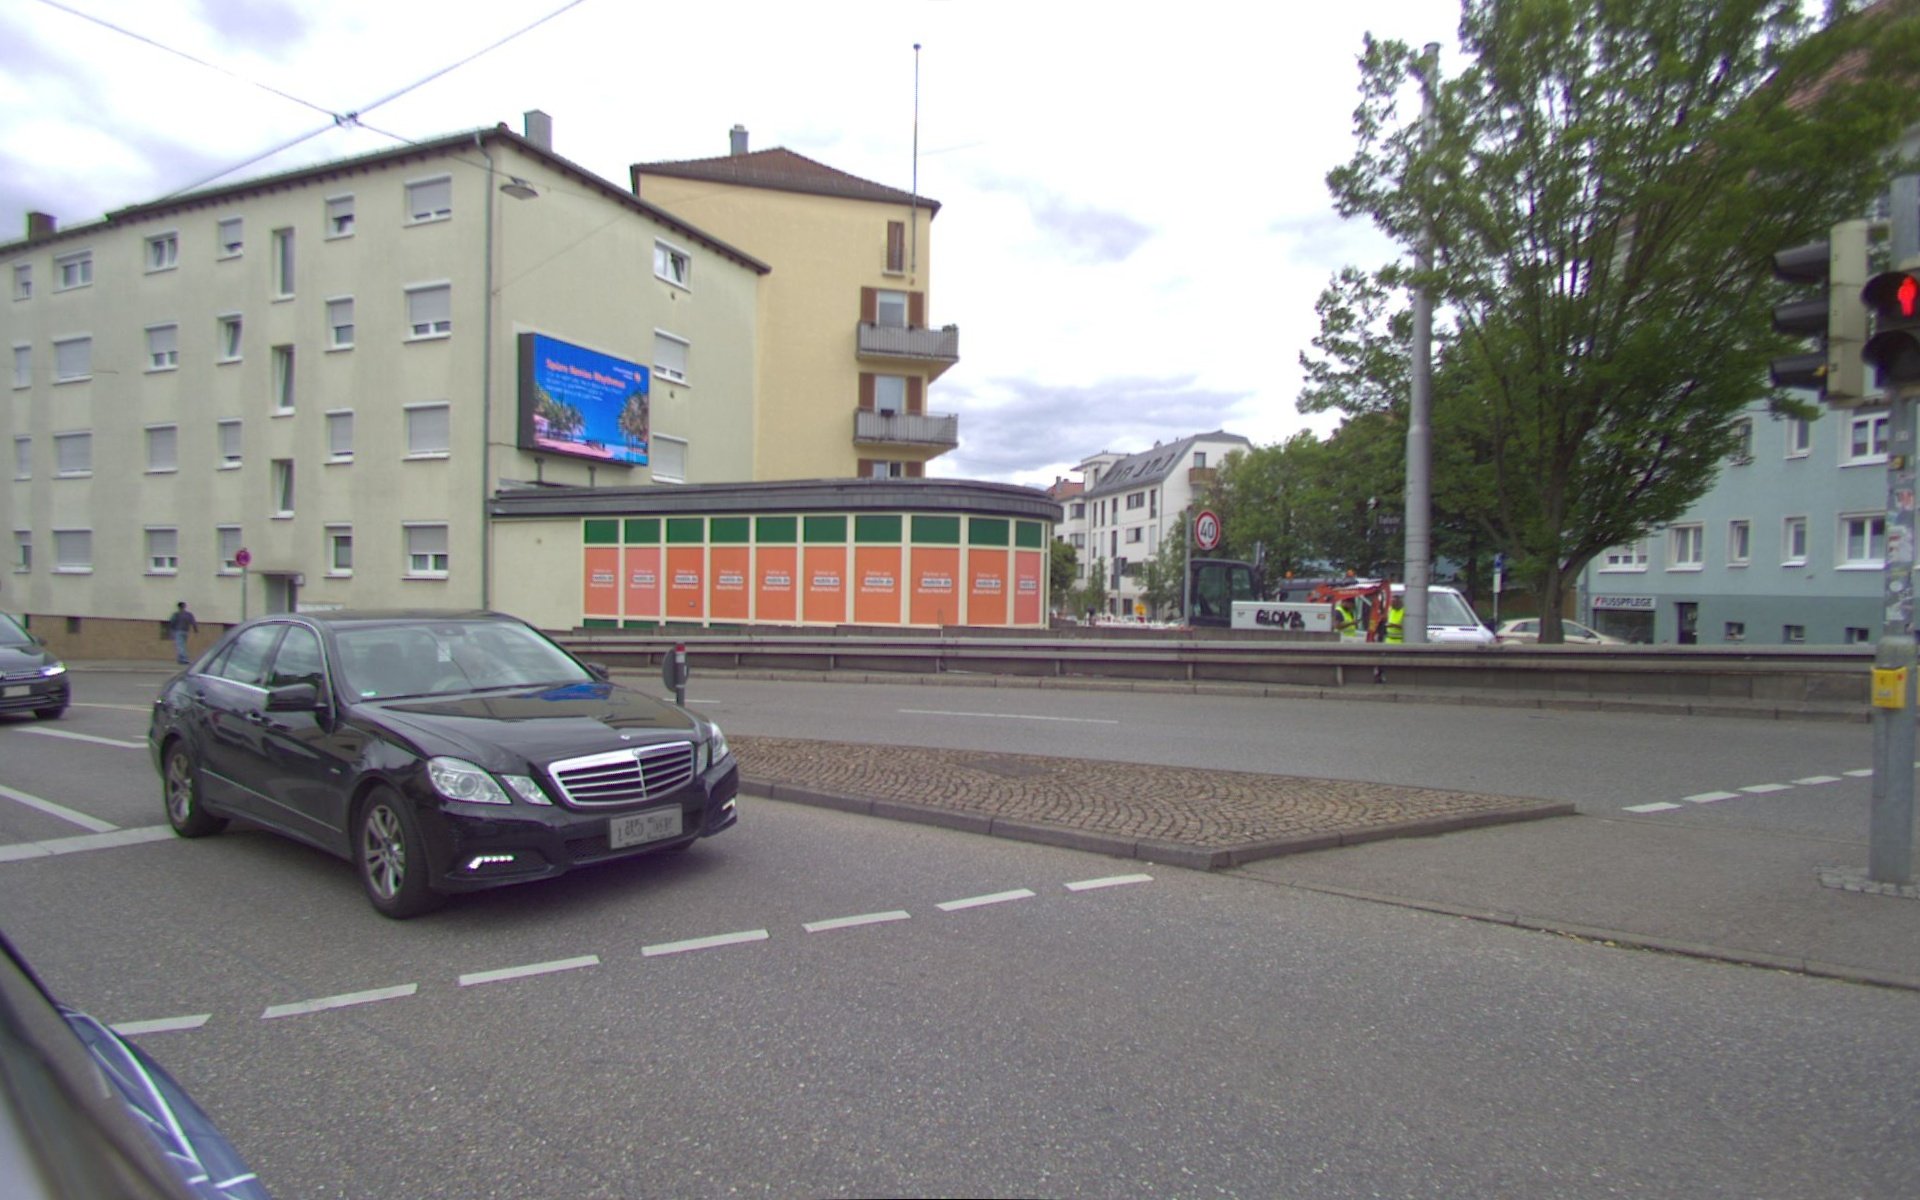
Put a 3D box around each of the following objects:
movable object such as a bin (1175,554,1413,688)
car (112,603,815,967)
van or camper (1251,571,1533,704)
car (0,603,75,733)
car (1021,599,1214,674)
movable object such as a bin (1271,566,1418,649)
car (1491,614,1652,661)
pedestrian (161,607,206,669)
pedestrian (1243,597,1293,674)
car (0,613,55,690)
[{"bbox_3d":[5.332,0.350,16.497,3.502,2.029,1.373,-1,-1,14],"label":"movable object such as a bin"},{"bbox_3d":[-3.348,0.796,6.368,4.833,1.439,1.976,-1,0,37],"label":"car"},{"bbox_3d":[8.739,0.671,21.372,2.646,2.356,6.017,-1,0,-9],"label":"van or camper"},{"bbox_3d":[-14.058,0.884,13.938,4.470,1.623,1.841,0,1,36],"label":"car"},{"bbox_3d":[3.626,0.797,23.620,3.933,1.563,2.005,-1,0,-13],"label":"car"},{"bbox_3d":[10.990,0.169,28.597,2.391,2.087,6.178,-1,0,35],"label":"movable object such as a bin"},{"bbox_3d":[19.507,1.186,32.486,4.127,1.380,1.779,-1,0,21],"label":"car"},{"bbox_3d":[-21.179,1.019,27.608,0.774,1.649,0.685,-1,0,23],"label":"pedestrian"},{"bbox_3d":[5.656,0.637,18.592,0.591,1.374,0.627,-1,0,-33],"label":"pedestrian"},{"bbox_3d":[-21.289,1.098,21.358,4.010,1.543,1.779,-1,0,24],"label":"car"}]
